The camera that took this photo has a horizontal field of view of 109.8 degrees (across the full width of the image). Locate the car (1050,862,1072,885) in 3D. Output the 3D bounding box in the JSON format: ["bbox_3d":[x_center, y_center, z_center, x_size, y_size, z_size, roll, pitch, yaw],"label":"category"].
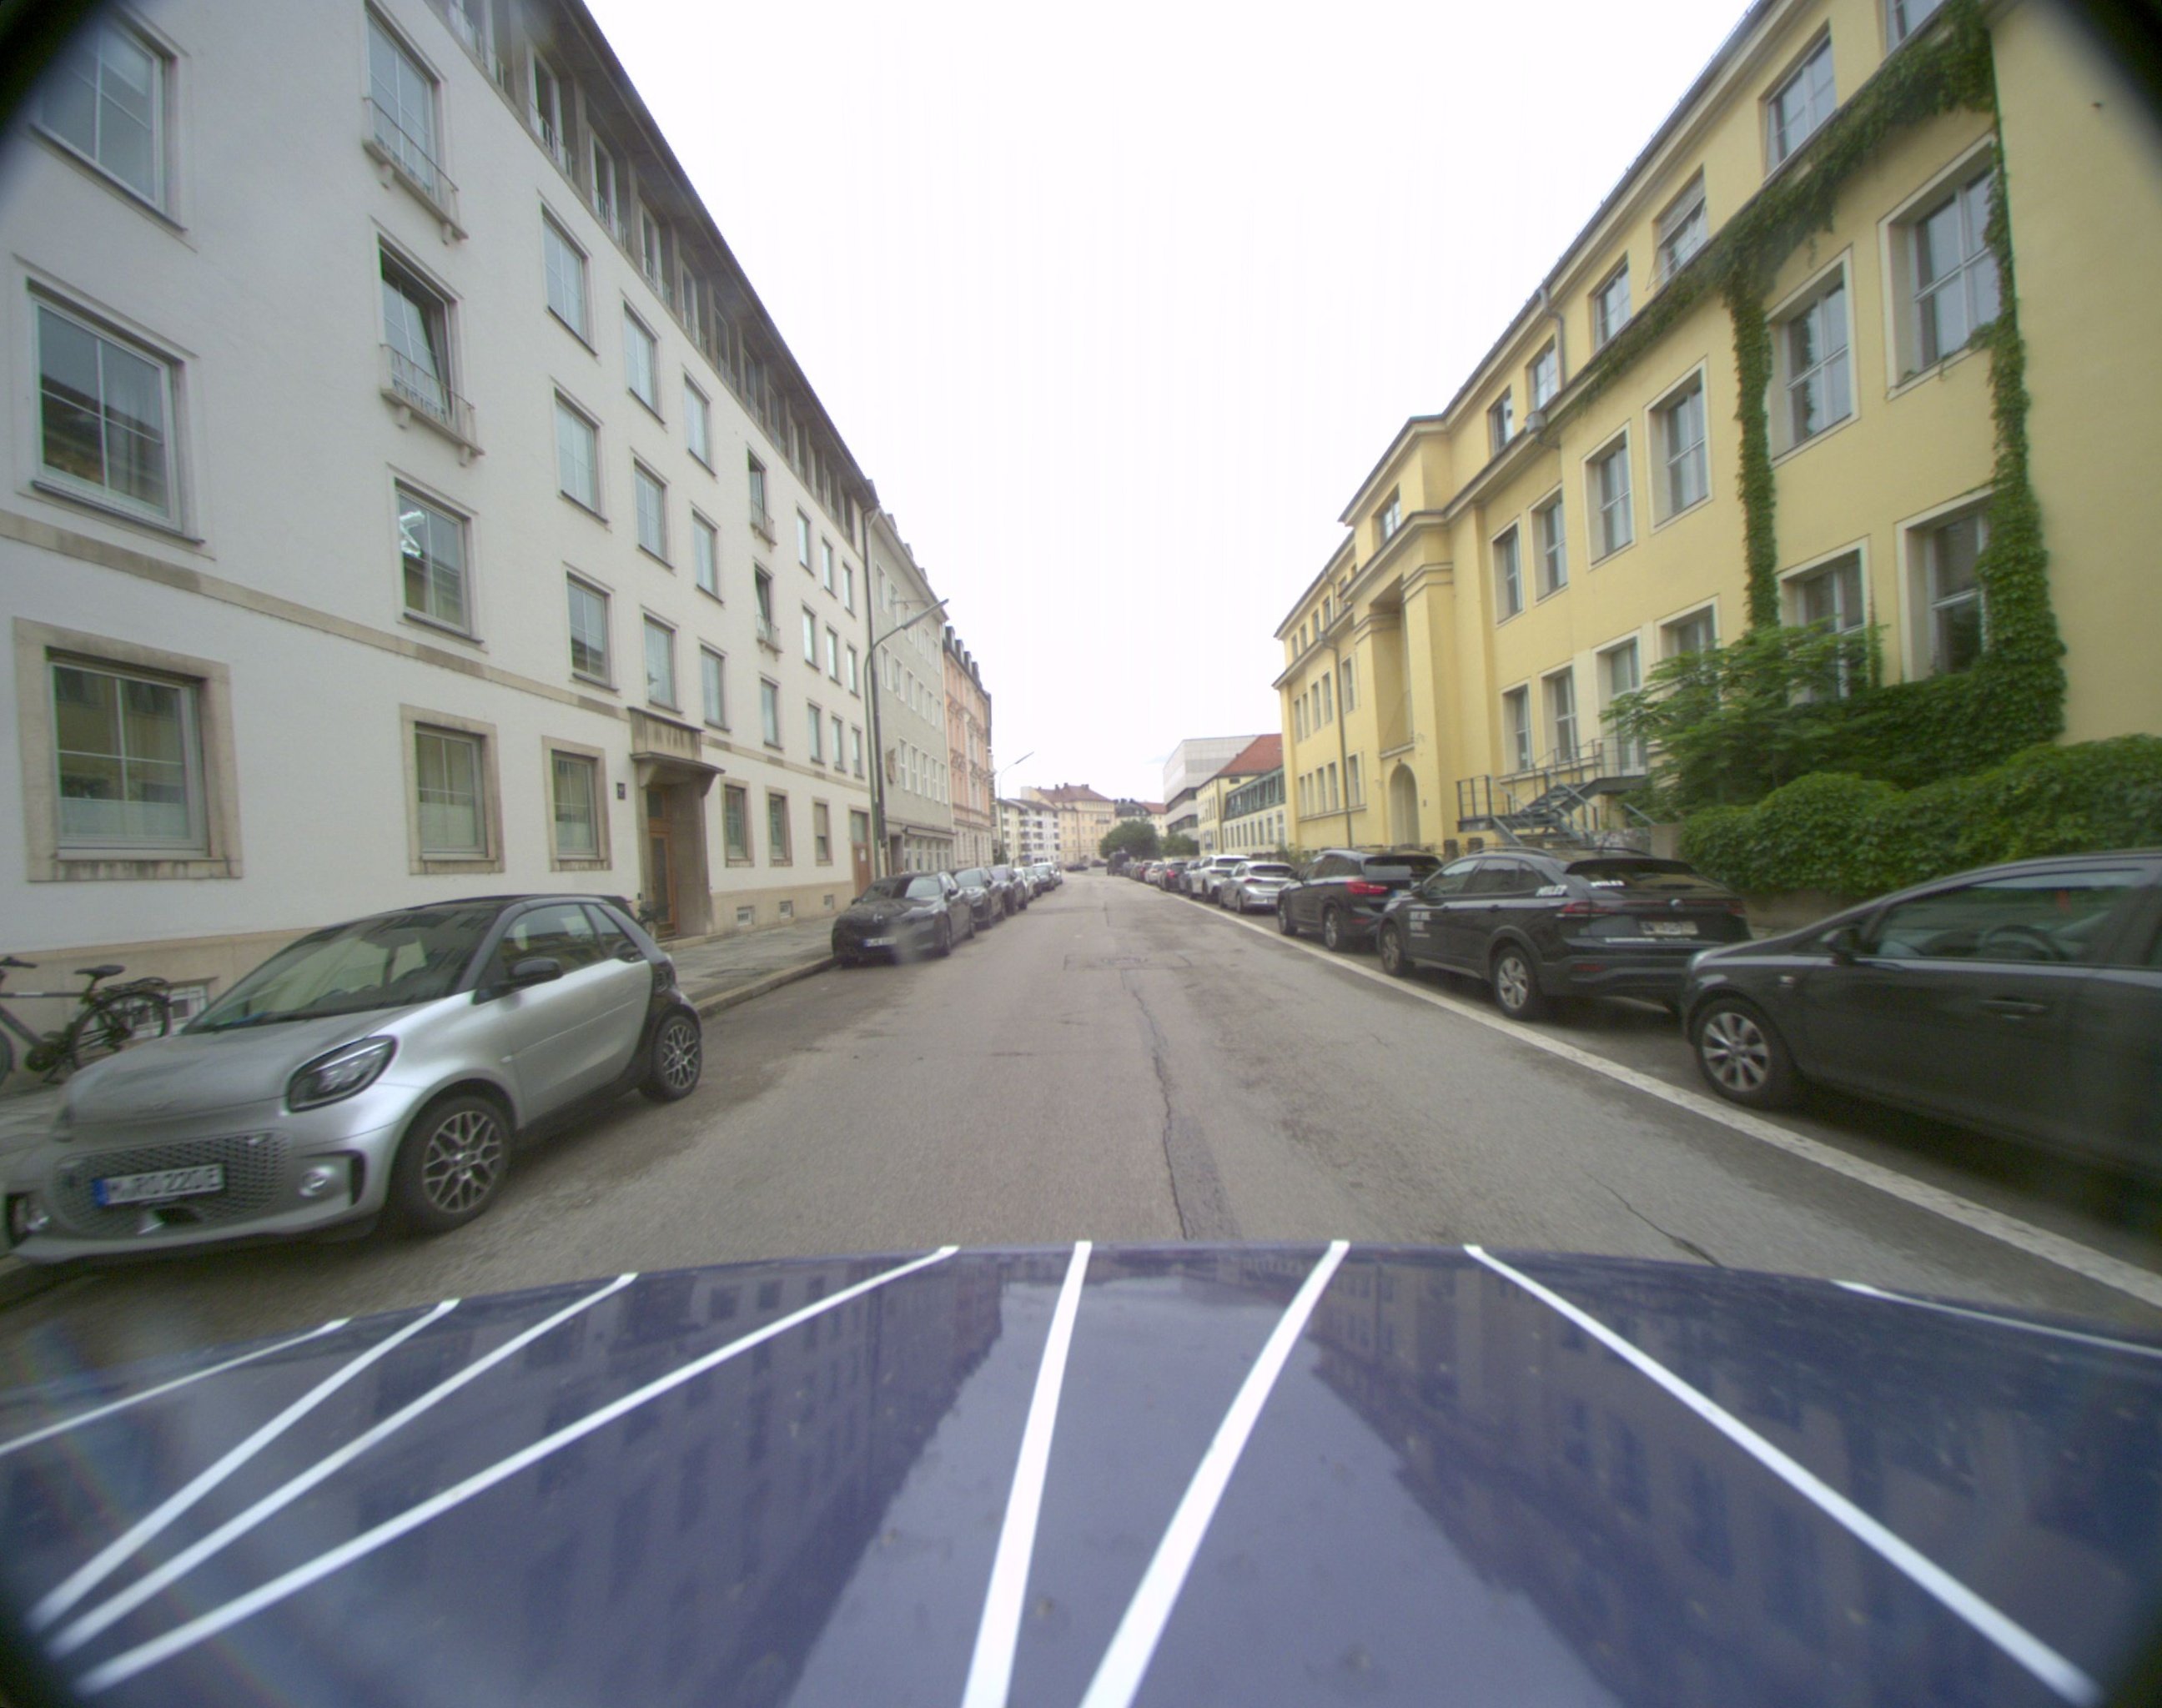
[{"bbox_3d":[-1.584,1.518,60.636,1.608,1.632,3.631,-4,0,0],"label":"car"}]

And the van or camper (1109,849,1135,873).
[{"bbox_3d":[4.838,0.867,91.125,2.142,2.791,5.570,-2,0,-6],"label":"van or camper"}]

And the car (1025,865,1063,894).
[{"bbox_3d":[-2.145,1.453,44.859,1.696,1.442,4.084,-5,0,3],"label":"car"}]

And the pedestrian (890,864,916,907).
[{"bbox_3d":[-6.911,1.200,29.560,0.736,1.616,0.828,-2,0,2],"label":"pedestrian"}]

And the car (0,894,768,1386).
[{"bbox_3d":[-3.708,1.188,4.743,1.676,1.525,3.881,-6,0,1],"label":"car"}]

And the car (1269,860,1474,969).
[{"bbox_3d":[4.625,0.876,12.832,1.786,1.529,4.195,0,0,-1],"label":"car"}]

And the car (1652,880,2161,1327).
[{"bbox_3d":[4.440,0.877,2.902,1.582,1.447,3.904,0,0,0],"label":"car"}]

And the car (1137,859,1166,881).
[{"bbox_3d":[5.069,1.154,54.947,1.679,1.557,3.997,0,0,-1],"label":"car"}]

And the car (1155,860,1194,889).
[{"bbox_3d":[5.181,1.091,42.411,1.727,1.518,4.087,1,0,1],"label":"car"}]

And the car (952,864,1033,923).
[{"bbox_3d":[-2.764,1.202,24.625,1.782,1.575,4.331,-5,0,3],"label":"car"}]

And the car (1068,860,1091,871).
[{"bbox_3d":[-0.276,2.223,146.612,4.248,1.849,1.999,-2,0,-5],"label":"car"}]

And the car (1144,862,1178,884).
[{"bbox_3d":[5.153,1.188,49.478,1.679,1.389,3.997,0,0,-1],"label":"car"}]

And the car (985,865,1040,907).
[{"bbox_3d":[-2.800,1.298,32.070,1.696,1.455,4.084,-5,0,2],"label":"car"}]

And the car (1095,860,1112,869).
[{"bbox_3d":[5.386,2.487,182.940,3.996,1.849,2.000,-2,0,1],"label":"car"}]

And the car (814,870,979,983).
[{"bbox_3d":[-3.244,1.204,14.467,1.860,1.535,4.816,-5,0,0],"label":"car"}]

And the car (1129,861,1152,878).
[{"bbox_3d":[5.043,1.322,64.732,1.798,1.396,4.129,0,0,3],"label":"car"}]

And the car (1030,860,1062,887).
[{"bbox_3d":[-2.535,1.395,55.774,1.845,1.775,4.895,-6,0,1],"label":"car"}]

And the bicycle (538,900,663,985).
[{"bbox_3d":[-7.726,1.383,12.352,0.660,1.120,2.028,-2,0,1],"label":"bicycle"}]

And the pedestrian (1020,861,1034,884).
[{"bbox_3d":[-3.971,1.373,55.702,0.863,1.652,0.647,-3,0,1],"label":"pedestrian"}]

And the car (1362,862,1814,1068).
[{"bbox_3d":[4.552,0.848,7.740,1.786,1.529,4.149,0,0,-1],"label":"car"}]

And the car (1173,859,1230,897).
[{"bbox_3d":[4.976,0.963,31.943,1.684,1.496,3.973,0,0,-1],"label":"car"}]

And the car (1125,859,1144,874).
[{"bbox_3d":[5.635,1.329,80.306,1.700,1.552,3.867,0,0,-1],"label":"car"}]

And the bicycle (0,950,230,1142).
[{"bbox_3d":[-7.814,1.427,5.632,0.660,1.156,2.028,-2,0,1],"label":"bicycle"}]

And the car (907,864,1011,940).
[{"bbox_3d":[-3.035,1.148,19.824,1.783,1.575,4.272,-5,0,2],"label":"car"}]

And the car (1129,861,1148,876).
[{"bbox_3d":[5.683,1.412,75.468,1.699,1.396,4.001,0,0,3],"label":"car"}]

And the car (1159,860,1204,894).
[{"bbox_3d":[4.790,1.069,36.684,1.684,1.487,3.986,0,0,1],"label":"car"}]

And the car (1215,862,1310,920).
[{"bbox_3d":[4.927,0.954,21.122,1.684,1.417,3.894,1,0,0],"label":"car"}]

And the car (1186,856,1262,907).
[{"bbox_3d":[4.885,0.894,26.514,1.684,1.624,4.356,1,0,-2],"label":"car"}]

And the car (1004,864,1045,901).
[{"bbox_3d":[-2.786,1.388,38.166,1.696,1.574,4.083,-5,0,-1],"label":"car"}]
